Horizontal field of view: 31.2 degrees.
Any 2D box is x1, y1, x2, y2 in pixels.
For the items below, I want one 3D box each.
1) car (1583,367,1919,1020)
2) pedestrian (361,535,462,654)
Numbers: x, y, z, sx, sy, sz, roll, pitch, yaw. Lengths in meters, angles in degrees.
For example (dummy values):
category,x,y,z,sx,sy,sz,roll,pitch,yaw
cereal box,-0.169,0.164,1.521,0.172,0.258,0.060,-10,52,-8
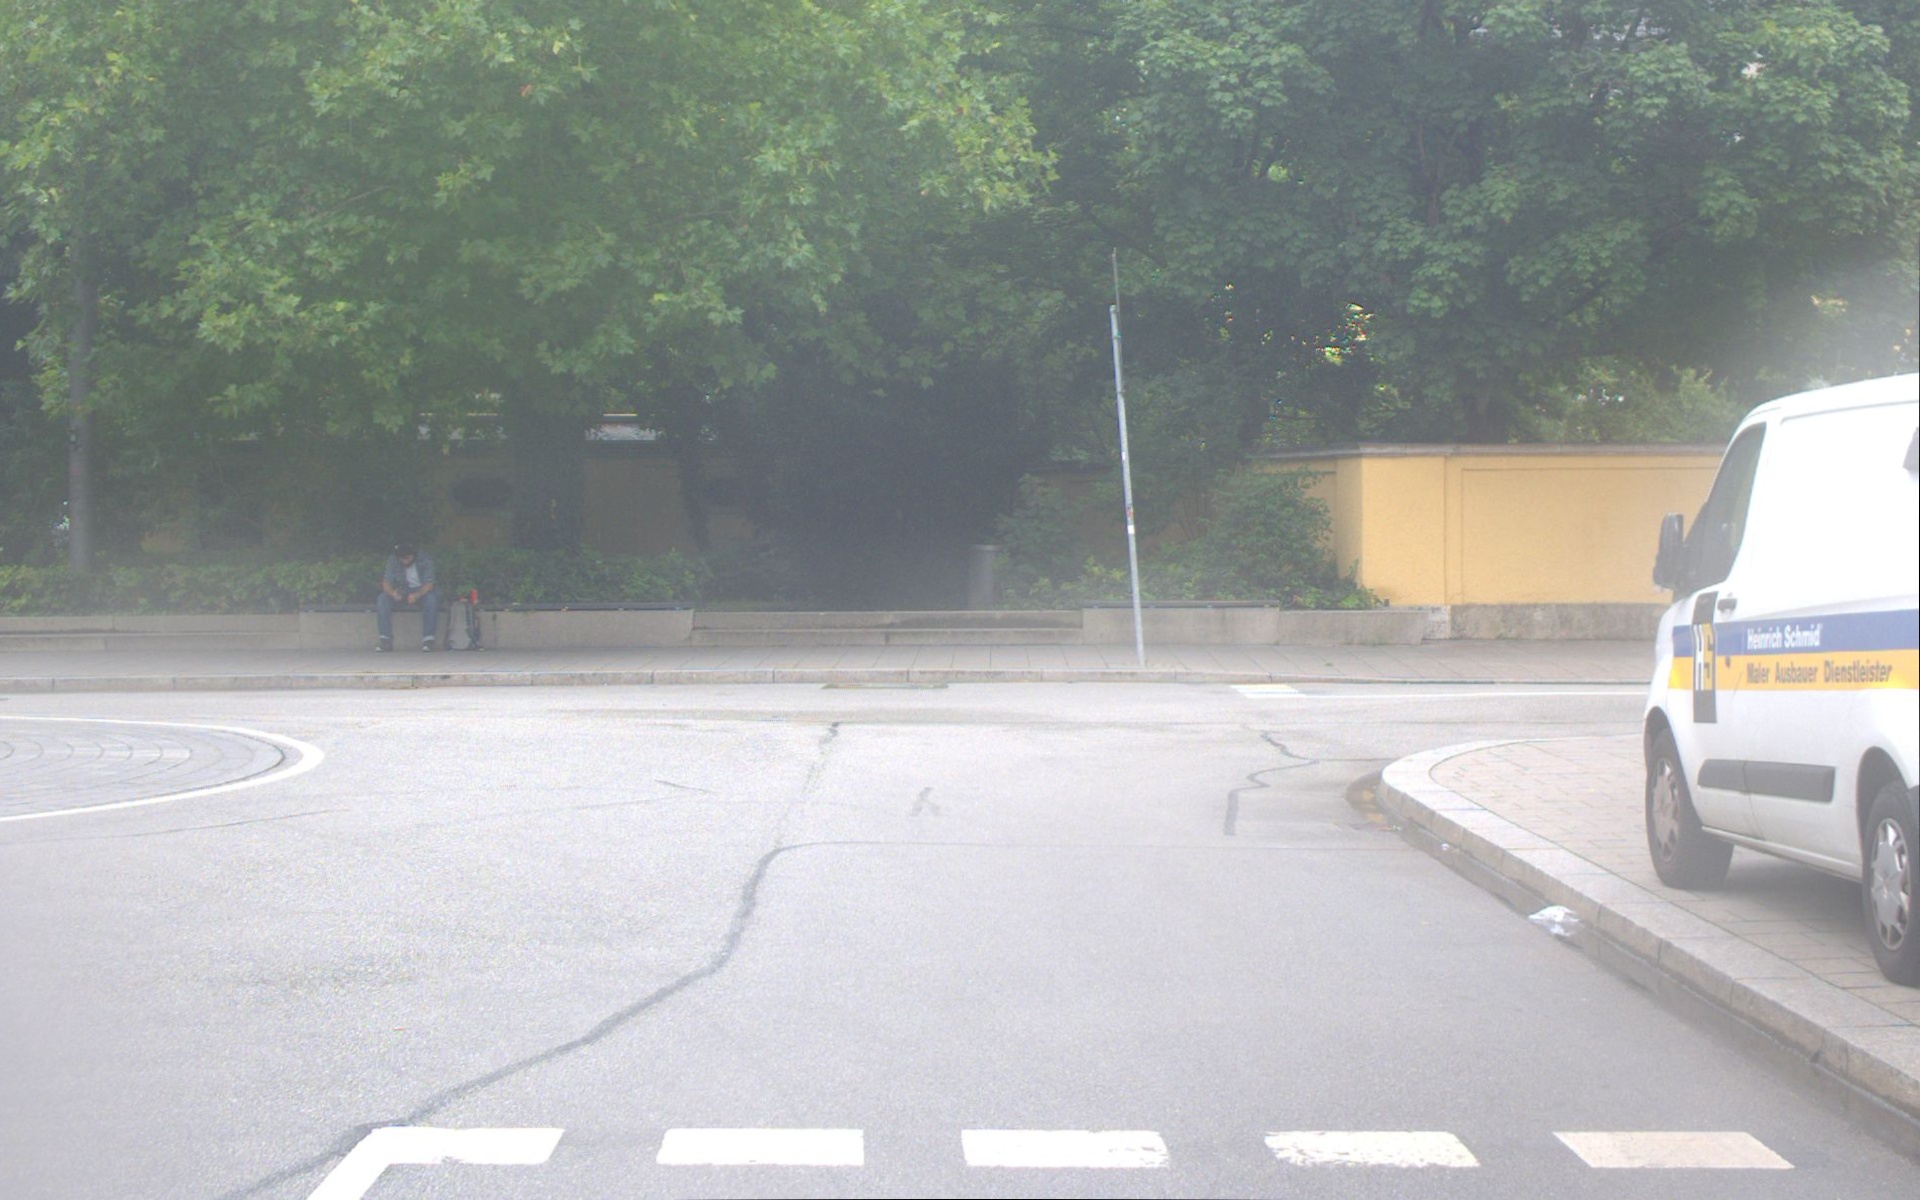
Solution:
category,x,y,z,sx,sy,sz,roll,pitch,yaw
car,3.734,0.211,12.175,1.915,1.955,4.928,-1,2,-3
pedestrian,-5.570,-0.067,34.949,0.812,1.185,0.919,0,1,5
